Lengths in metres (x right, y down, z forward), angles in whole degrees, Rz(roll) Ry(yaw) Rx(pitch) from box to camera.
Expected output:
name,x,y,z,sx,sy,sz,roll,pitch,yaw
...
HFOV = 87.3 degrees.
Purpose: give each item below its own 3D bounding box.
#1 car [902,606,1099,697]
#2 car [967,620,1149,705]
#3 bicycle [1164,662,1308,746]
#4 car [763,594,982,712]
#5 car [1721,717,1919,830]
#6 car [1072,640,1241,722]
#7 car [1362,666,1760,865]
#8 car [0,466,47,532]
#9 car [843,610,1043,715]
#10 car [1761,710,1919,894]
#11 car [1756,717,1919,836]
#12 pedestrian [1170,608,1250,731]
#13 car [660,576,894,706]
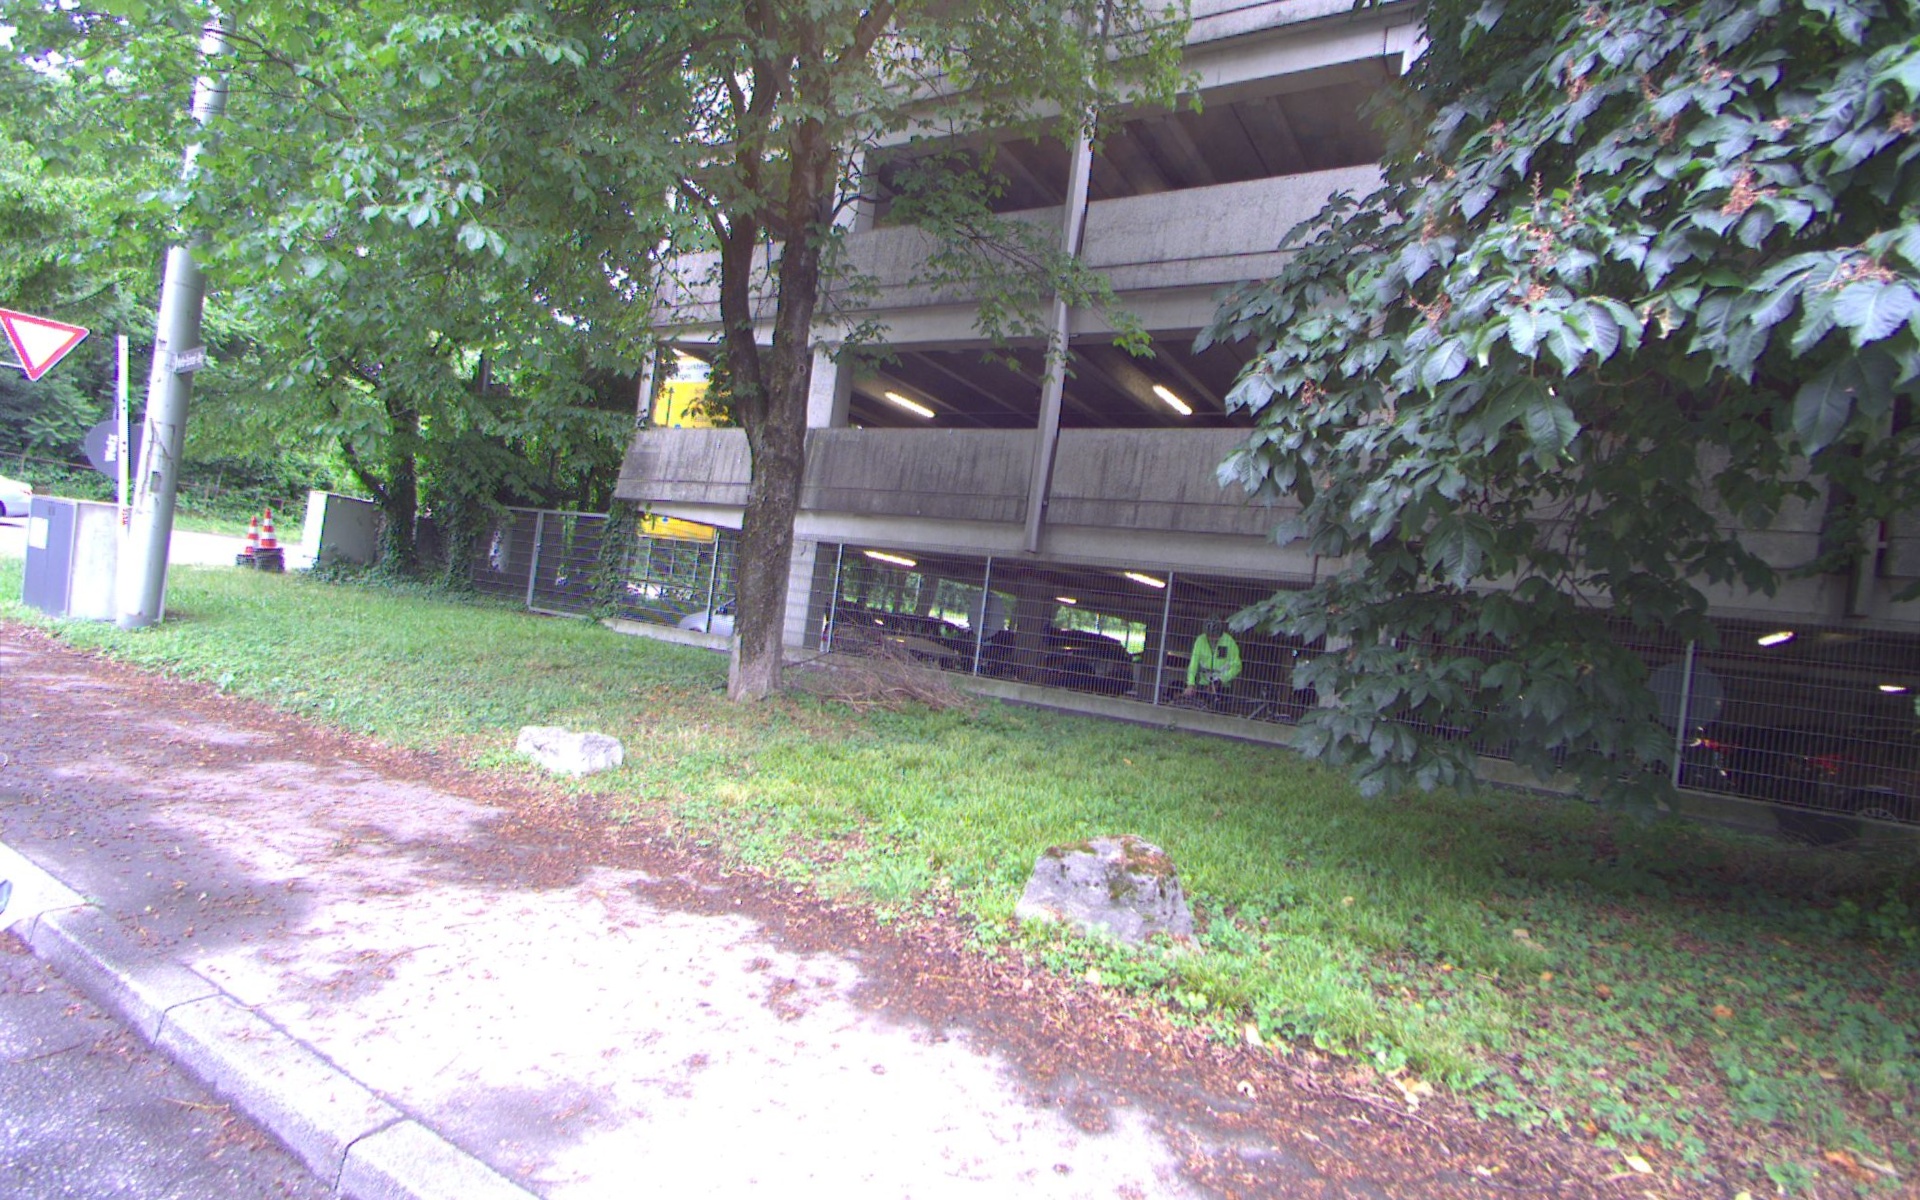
name,x,y,z,sx,sy,sz,roll,pitch,yaw
car,0.921,1.181,23.219,3.934,1.569,1.998,5,-3,32
car,2.434,1.554,25.156,3.934,1.569,1.998,5,-3,32
bicycle,3.117,1.166,11.381,1.469,0.744,0.448,6,-3,24
car,-1.669,0.976,18.826,3.707,1.727,1.584,5,-3,32
car,16.598,3.243,18.654,3.640,1.625,1.721,5,-3,30
car,6.135,2.525,31.556,4.658,1.855,1.923,6,-3,33
car,8.618,2.291,14.839,4.597,2.036,1.998,5,-3,31
car,-23.634,-2.643,22.193,1.802,1.349,4.762,10,-1,30
car,-0.376,1.284,20.882,3.658,1.682,1.734,5,-3,32
car,12.669,2.655,12.471,3.935,2.036,1.998,5,-3,33
car,15.608,2.991,16.519,3.640,1.625,1.721,5,-3,30
pedestrian,2.920,0.819,11.734,0.626,1.332,0.642,5,-3,31
car,-3.115,0.660,16.900,3.658,1.727,1.484,5,-3,32
